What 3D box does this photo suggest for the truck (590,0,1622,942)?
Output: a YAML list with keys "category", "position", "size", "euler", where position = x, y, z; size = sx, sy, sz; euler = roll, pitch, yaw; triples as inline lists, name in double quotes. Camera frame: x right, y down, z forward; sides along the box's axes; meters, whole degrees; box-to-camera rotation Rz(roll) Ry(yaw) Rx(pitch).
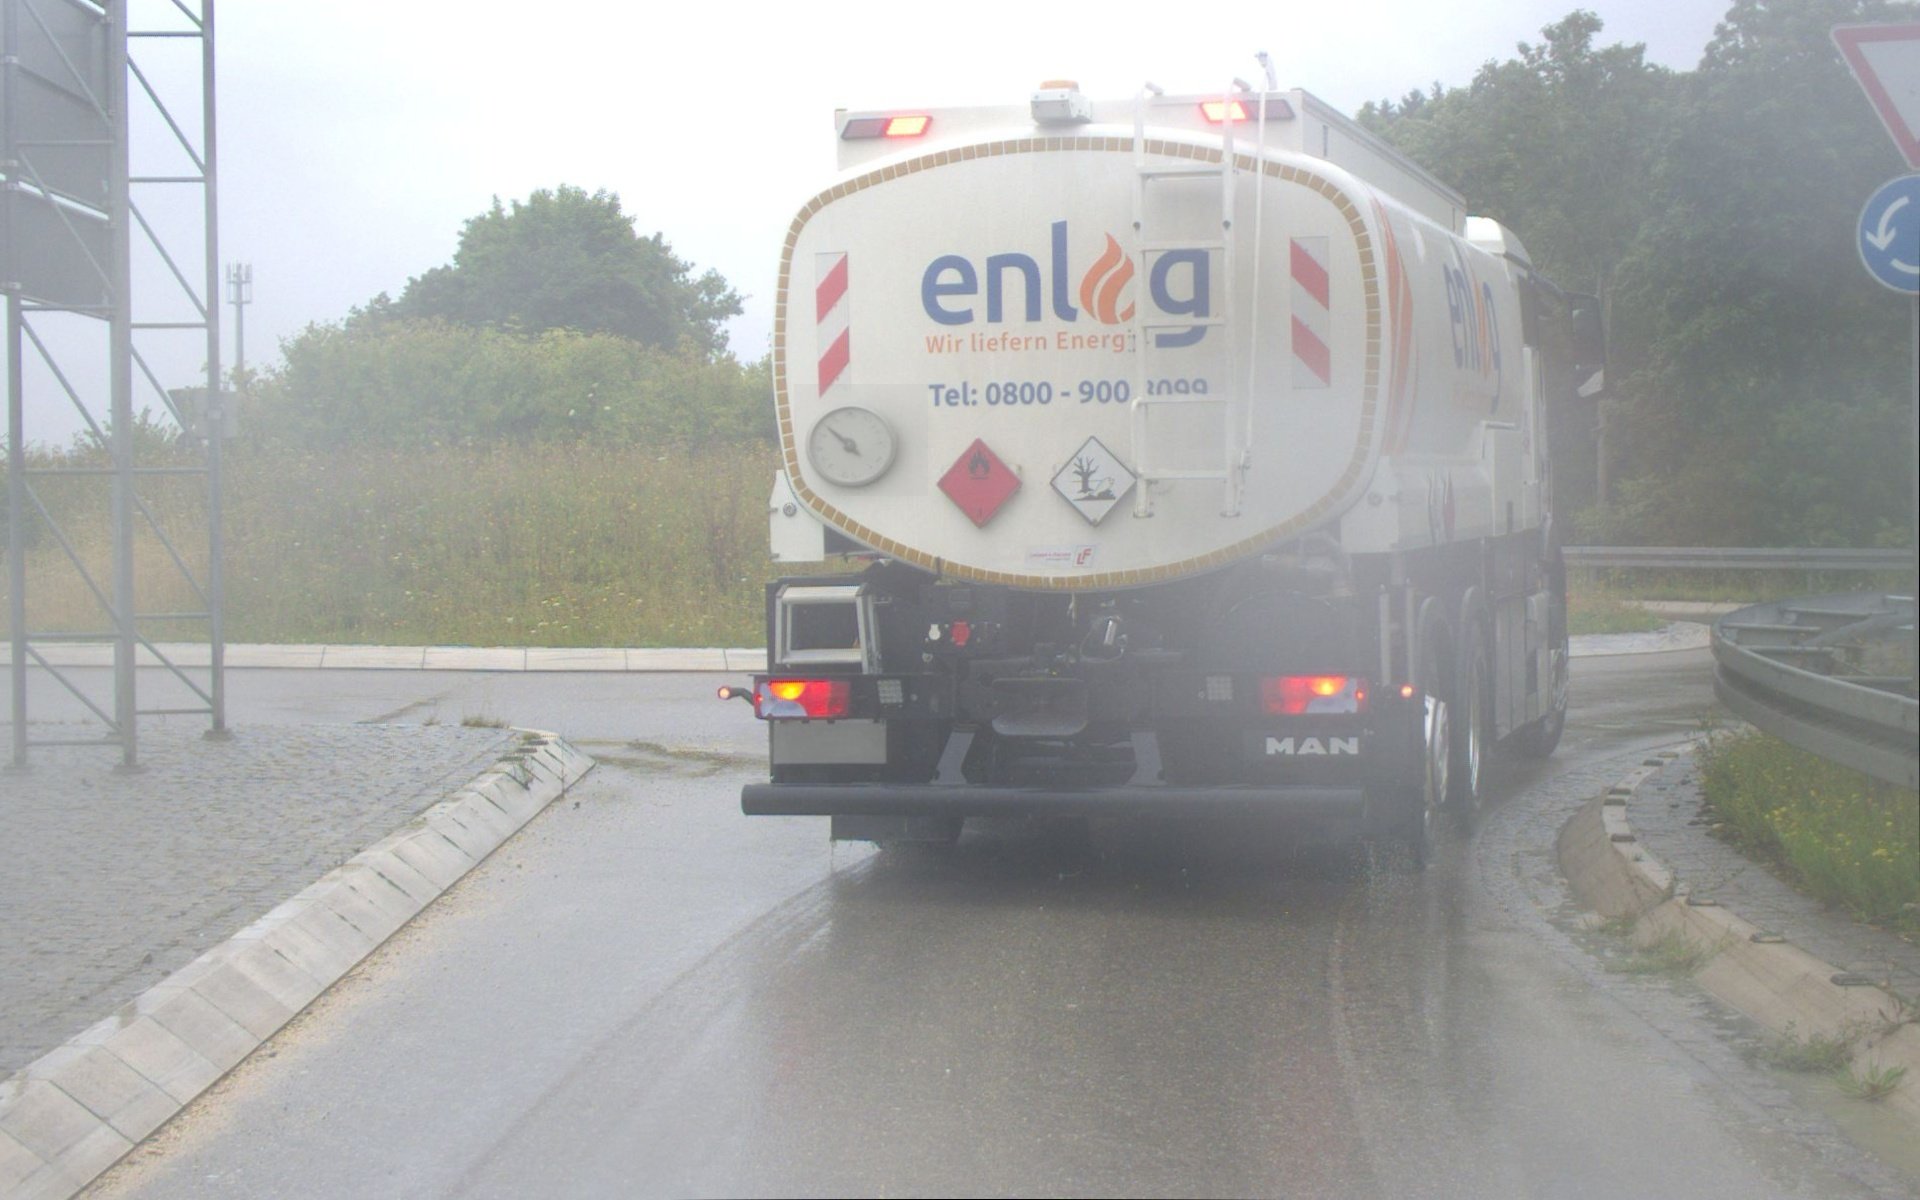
- category: "truck"
  position: [1.289, -0.792, 17.038]
  size: [3.041, 3.838, 8.816]
  euler: [1, 1, 16]
